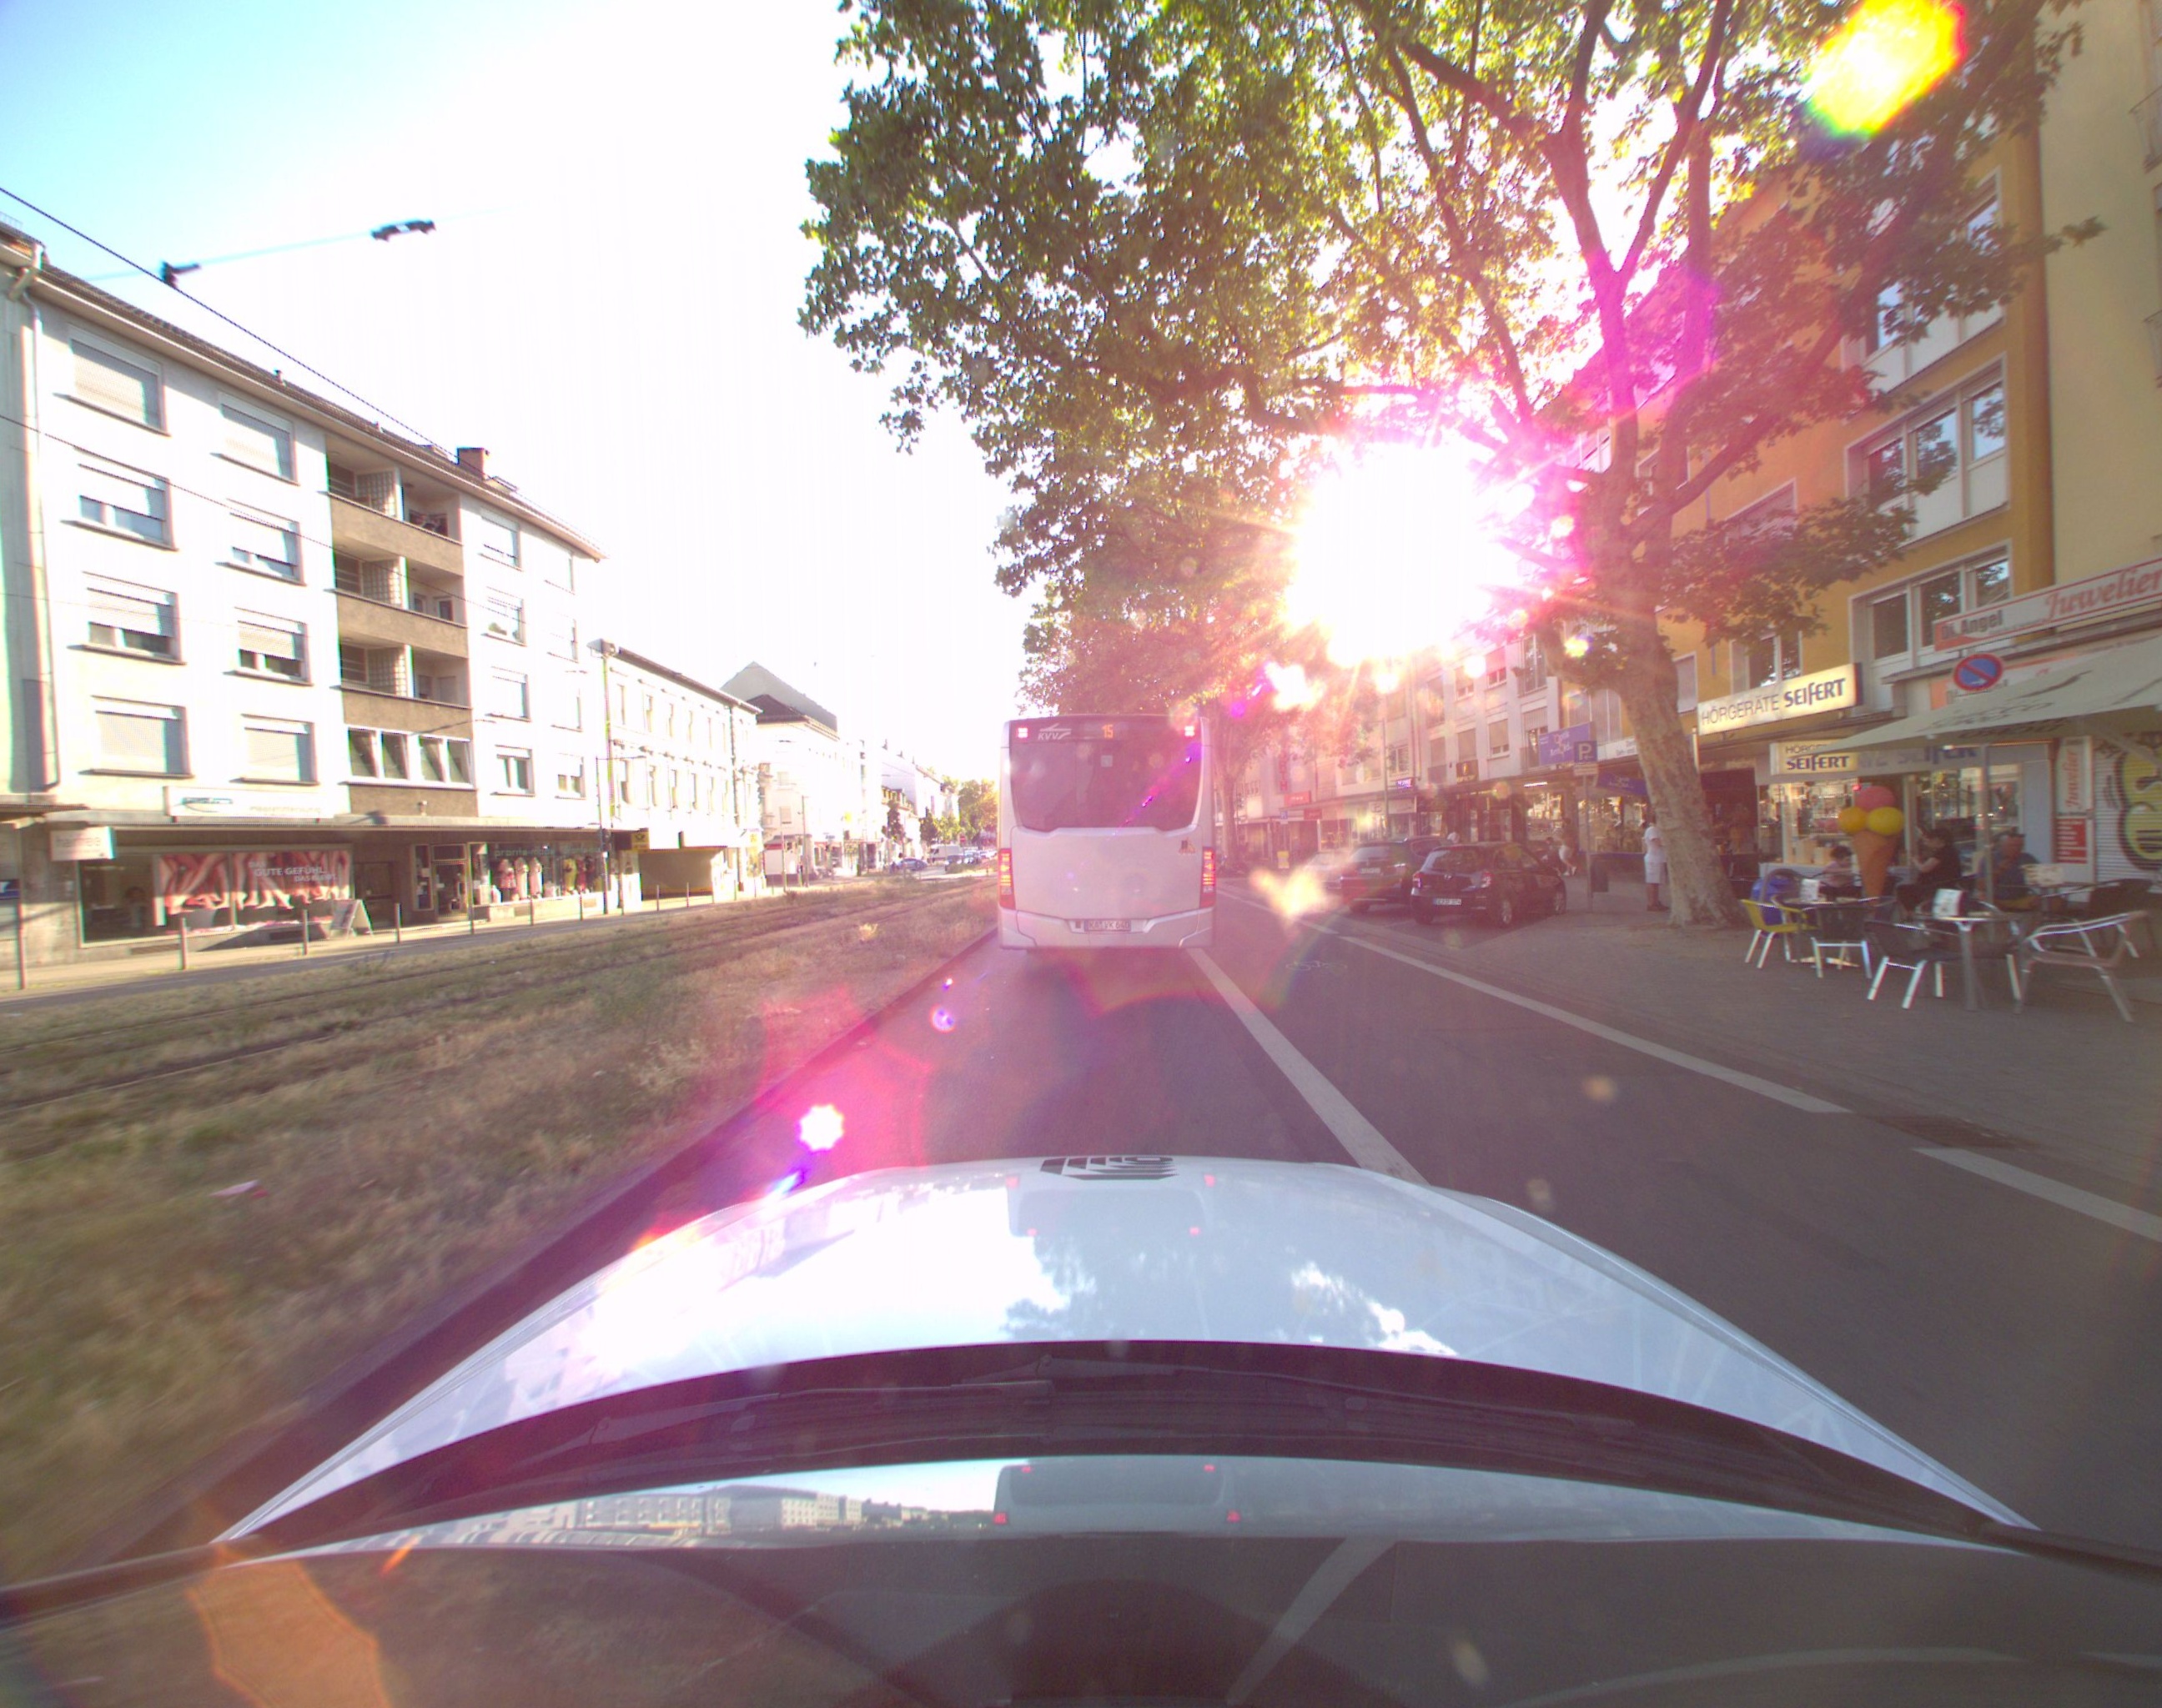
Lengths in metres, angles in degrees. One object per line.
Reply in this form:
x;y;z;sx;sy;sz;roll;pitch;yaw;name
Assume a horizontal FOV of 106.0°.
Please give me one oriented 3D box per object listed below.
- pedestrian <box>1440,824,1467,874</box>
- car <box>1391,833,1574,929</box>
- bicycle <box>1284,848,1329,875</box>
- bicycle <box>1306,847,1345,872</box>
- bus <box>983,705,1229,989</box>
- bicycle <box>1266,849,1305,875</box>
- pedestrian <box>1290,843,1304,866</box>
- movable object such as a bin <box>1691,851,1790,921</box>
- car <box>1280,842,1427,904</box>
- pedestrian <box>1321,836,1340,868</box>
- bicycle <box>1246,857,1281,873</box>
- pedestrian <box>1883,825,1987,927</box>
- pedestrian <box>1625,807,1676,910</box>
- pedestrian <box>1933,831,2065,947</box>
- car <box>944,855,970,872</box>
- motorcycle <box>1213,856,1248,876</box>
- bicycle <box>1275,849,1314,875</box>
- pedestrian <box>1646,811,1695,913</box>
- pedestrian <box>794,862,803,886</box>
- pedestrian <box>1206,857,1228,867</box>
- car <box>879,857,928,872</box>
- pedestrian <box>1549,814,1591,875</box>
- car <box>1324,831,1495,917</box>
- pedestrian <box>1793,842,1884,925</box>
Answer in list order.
14.455;-0.199;31.591;0.640;1.876;0.825;-2;0;3;pedestrian
7.694;0.451;15.487;3.627;1.540;1.721;-2;0;-39;car
11.392;0.384;41.206;2.070;1.233;0.833;-3;0;6;bicycle
12.440;0.284;41.494;1.753;1.154;0.680;-4;0;10;bicycle
0.443;-0.111;12.565;2.667;3.083;7.119;-1;1;3;bus
10.937;0.420;43.615;1.865;1.189;0.713;-5;-1;9;bicycle
16.450;0.056;62.021;0.746;1.679;0.834;-2;2;-5;pedestrian
10.192;0.471;12.606;0.929;1.023;0.834;-1;0;-19;movable object such as a bin
7.673;0.489;22.774;4.196;1.451;1.789;-2;0;-36;car
14.385;-0.111;46.961;0.777;1.794;0.764;-2;0;1;pedestrian
9.995;0.596;44.652;1.865;0.765;0.714;-2;2;10;bicycle
11.175;0.276;10.677;0.581;1.275;0.759;0;0;2;pedestrian
10.456;0.083;14.952;0.518;1.832;0.471;-4;-1;-26;pedestrian
10.211;0.372;9.087;0.603;1.225;0.745;-2;0;2;pedestrian
-11.867;0.886;78.044;1.715;1.509;3.478;-5;0;3;car
7.398;0.600;40.297;1.566;0.892;0.544;-3;0;-2;motorcycle
11.174;0.424;42.600;1.784;1.189;0.670;-5;0;-7;bicycle
10.879;0.143;15.038;0.517;1.832;0.472;-2;0;-20;pedestrian
-20.567;1.451;59.310;0.423;1.713;0.509;-2;0;5;pedestrian
8.583;0.494;51.374;1.250;0.589;0.482;-2;0;-1;pedestrian
-18.549;1.121;85.308;4.571;1.412;1.978;-2;0;-35;car
15.022;-0.286;25.037;0.703;1.791;0.789;-5;0;7;pedestrian
7.571;0.393;18.614;4.172;1.681;1.789;-2;0;-39;car
10.612;0.401;11.431;0.581;1.115;0.751;0;0;2;pedestrian
